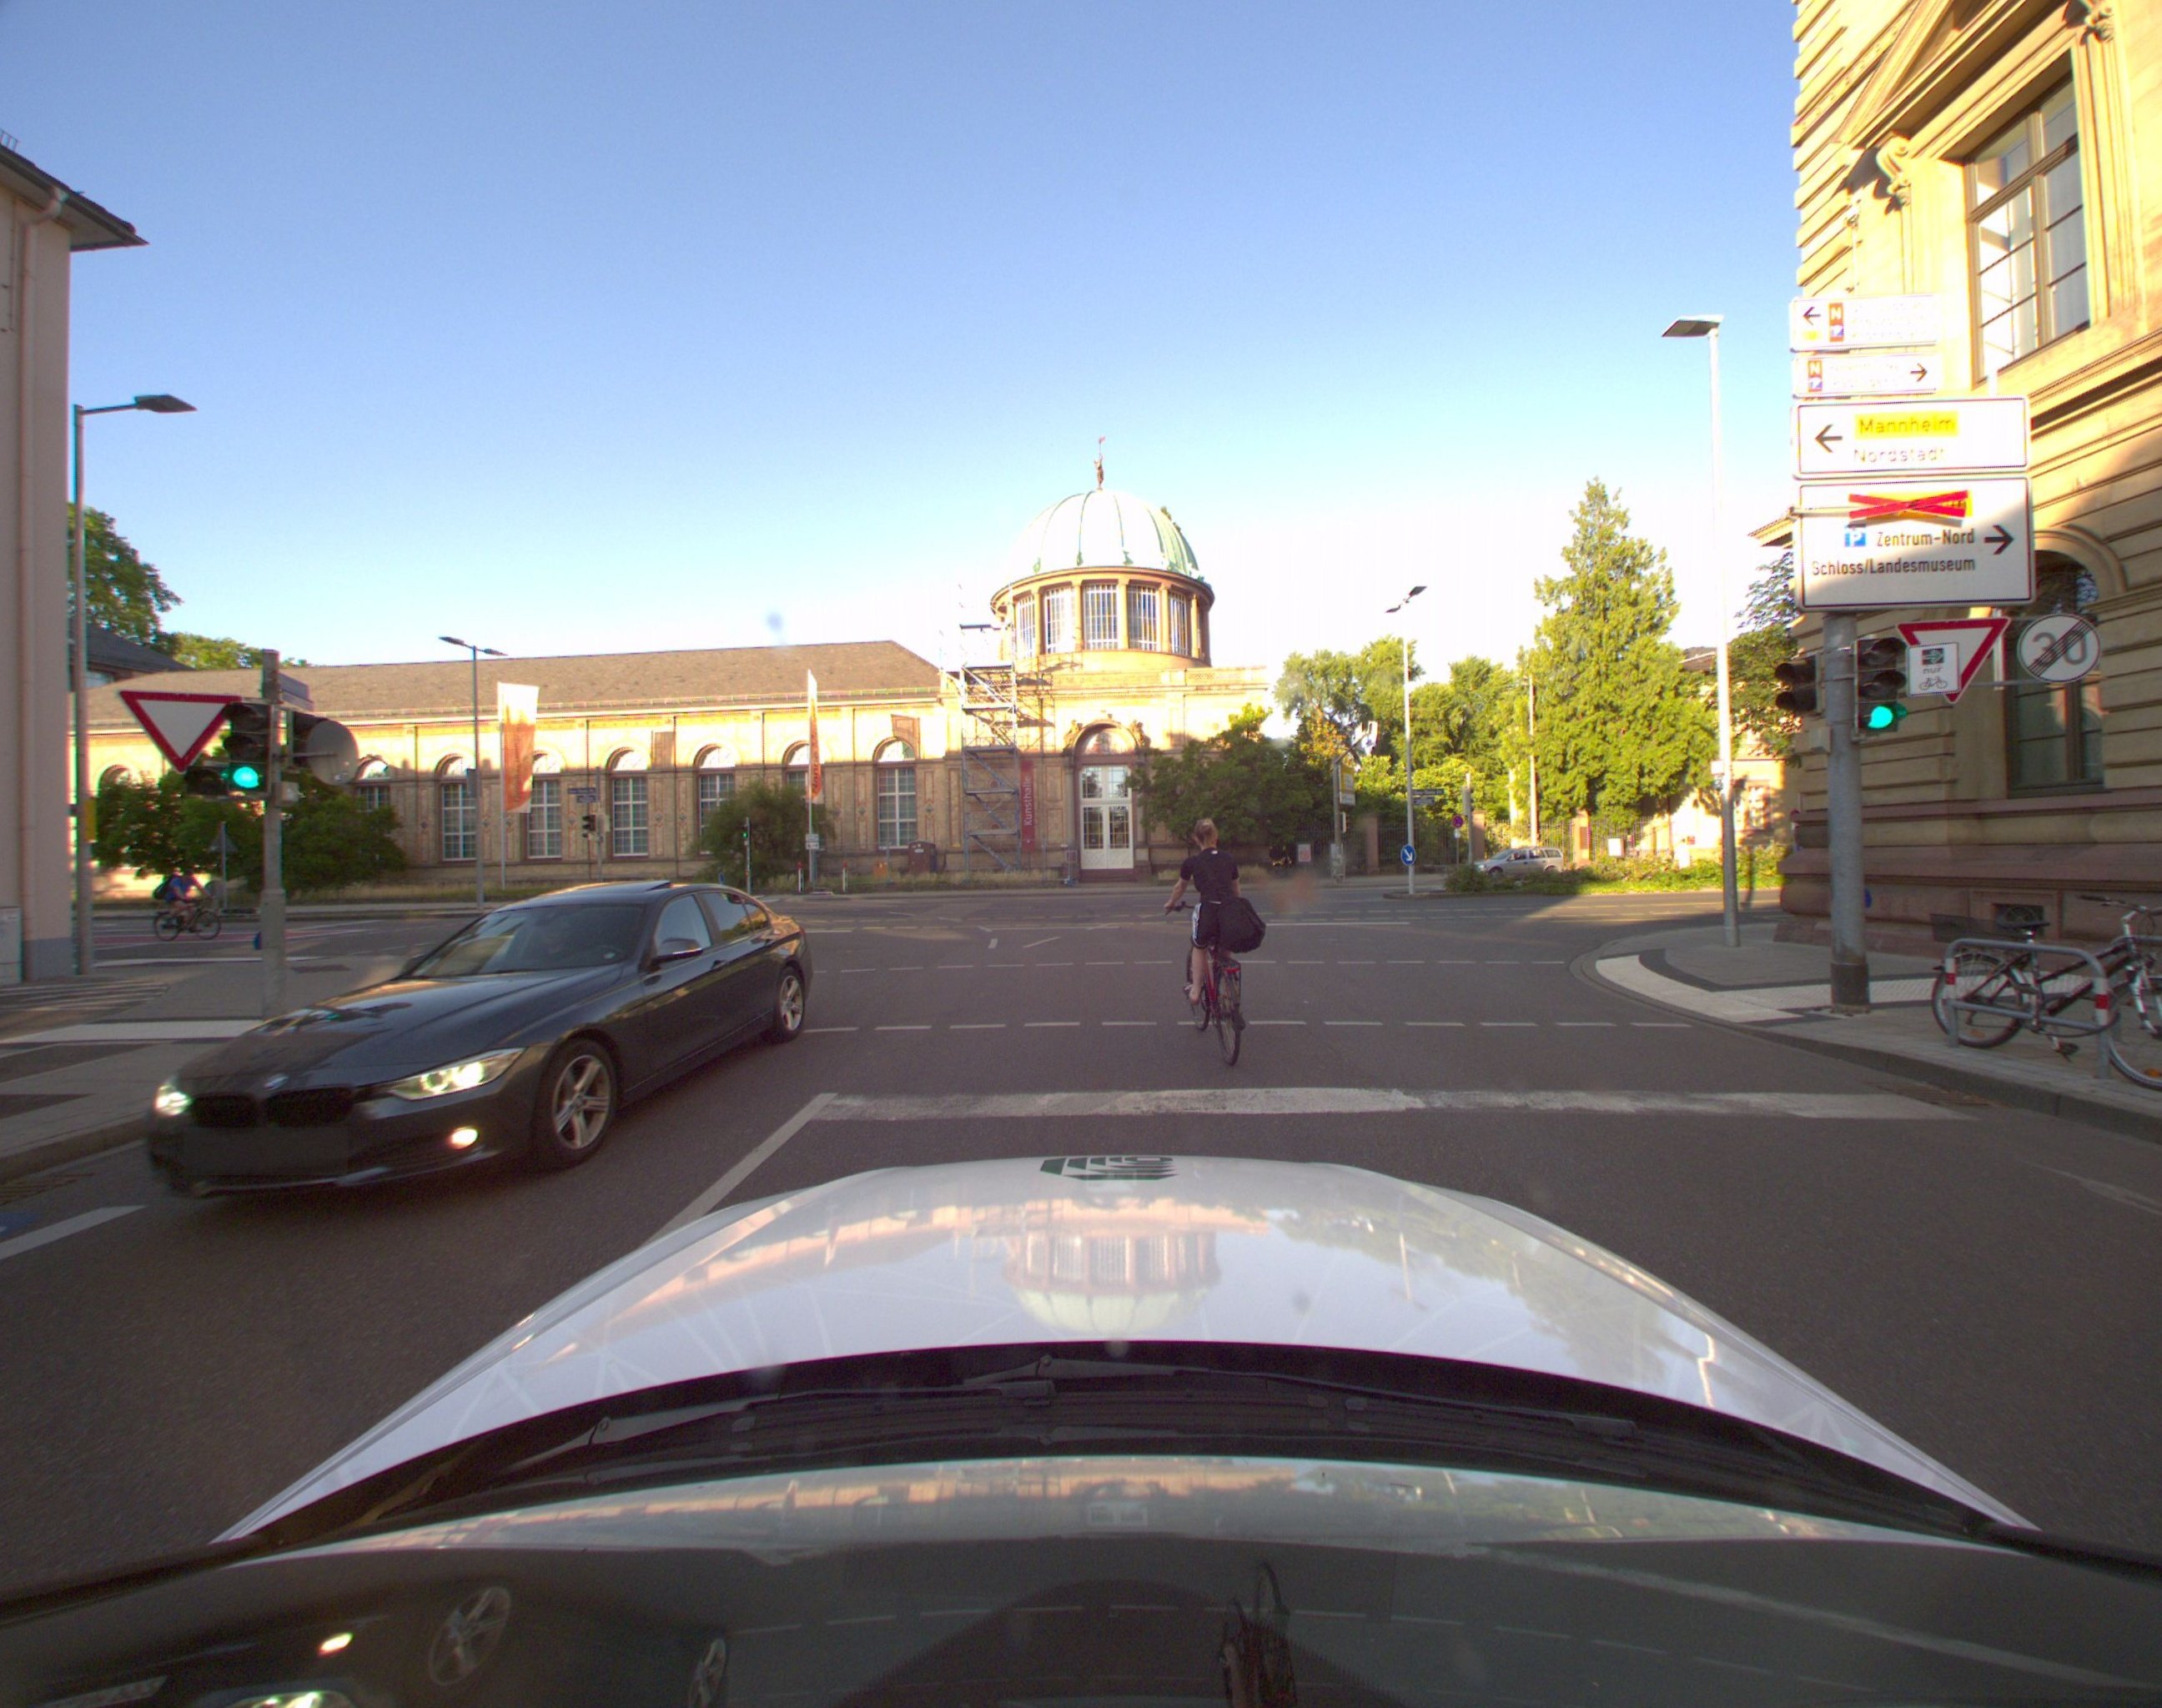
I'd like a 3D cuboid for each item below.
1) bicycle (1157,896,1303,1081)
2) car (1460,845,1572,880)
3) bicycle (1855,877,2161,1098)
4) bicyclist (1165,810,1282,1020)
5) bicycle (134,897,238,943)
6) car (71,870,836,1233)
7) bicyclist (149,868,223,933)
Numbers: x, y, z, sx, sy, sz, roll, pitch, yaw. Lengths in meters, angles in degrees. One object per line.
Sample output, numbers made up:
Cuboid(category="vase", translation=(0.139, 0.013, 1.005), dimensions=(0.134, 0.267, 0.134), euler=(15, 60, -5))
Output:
Cuboid(category="bicycle", translation=(1.084, 0.942, 6.443), dimensions=(0.709, 1.156, 2.067), euler=(-1, -2, -1))
Cuboid(category="car", translation=(19.492, 0.376, 36.574), dimensions=(4.176, 1.445, 1.713), euler=(-2, 0, -4))
Cuboid(category="bicycle", translation=(6.199, 0.754, 5.258), dimensions=(0.580, 1.188, 1.921), euler=(-1, -2, 2))
Cuboid(category="bicyclist", translation=(1.081, 0.453, 6.349), dimensions=(0.714, 1.502, 0.850), euler=(-1, -2, -1))
Cuboid(category="bicycle", translation=(-22.182, 1.631, 20.188), dimensions=(1.983, 1.067, 0.725), euler=(-2, 0, 8))
Cuboid(category="car", translation=(-3.410, 0.908, 5.748), dimensions=(1.775, 1.459, 4.426), euler=(-2, -1, 3))
Cuboid(category="bicyclist", translation=(-22.186, 1.149, 20.202), dimensions=(1.115, 1.544, 0.715), euler=(-2, 0, 8))
